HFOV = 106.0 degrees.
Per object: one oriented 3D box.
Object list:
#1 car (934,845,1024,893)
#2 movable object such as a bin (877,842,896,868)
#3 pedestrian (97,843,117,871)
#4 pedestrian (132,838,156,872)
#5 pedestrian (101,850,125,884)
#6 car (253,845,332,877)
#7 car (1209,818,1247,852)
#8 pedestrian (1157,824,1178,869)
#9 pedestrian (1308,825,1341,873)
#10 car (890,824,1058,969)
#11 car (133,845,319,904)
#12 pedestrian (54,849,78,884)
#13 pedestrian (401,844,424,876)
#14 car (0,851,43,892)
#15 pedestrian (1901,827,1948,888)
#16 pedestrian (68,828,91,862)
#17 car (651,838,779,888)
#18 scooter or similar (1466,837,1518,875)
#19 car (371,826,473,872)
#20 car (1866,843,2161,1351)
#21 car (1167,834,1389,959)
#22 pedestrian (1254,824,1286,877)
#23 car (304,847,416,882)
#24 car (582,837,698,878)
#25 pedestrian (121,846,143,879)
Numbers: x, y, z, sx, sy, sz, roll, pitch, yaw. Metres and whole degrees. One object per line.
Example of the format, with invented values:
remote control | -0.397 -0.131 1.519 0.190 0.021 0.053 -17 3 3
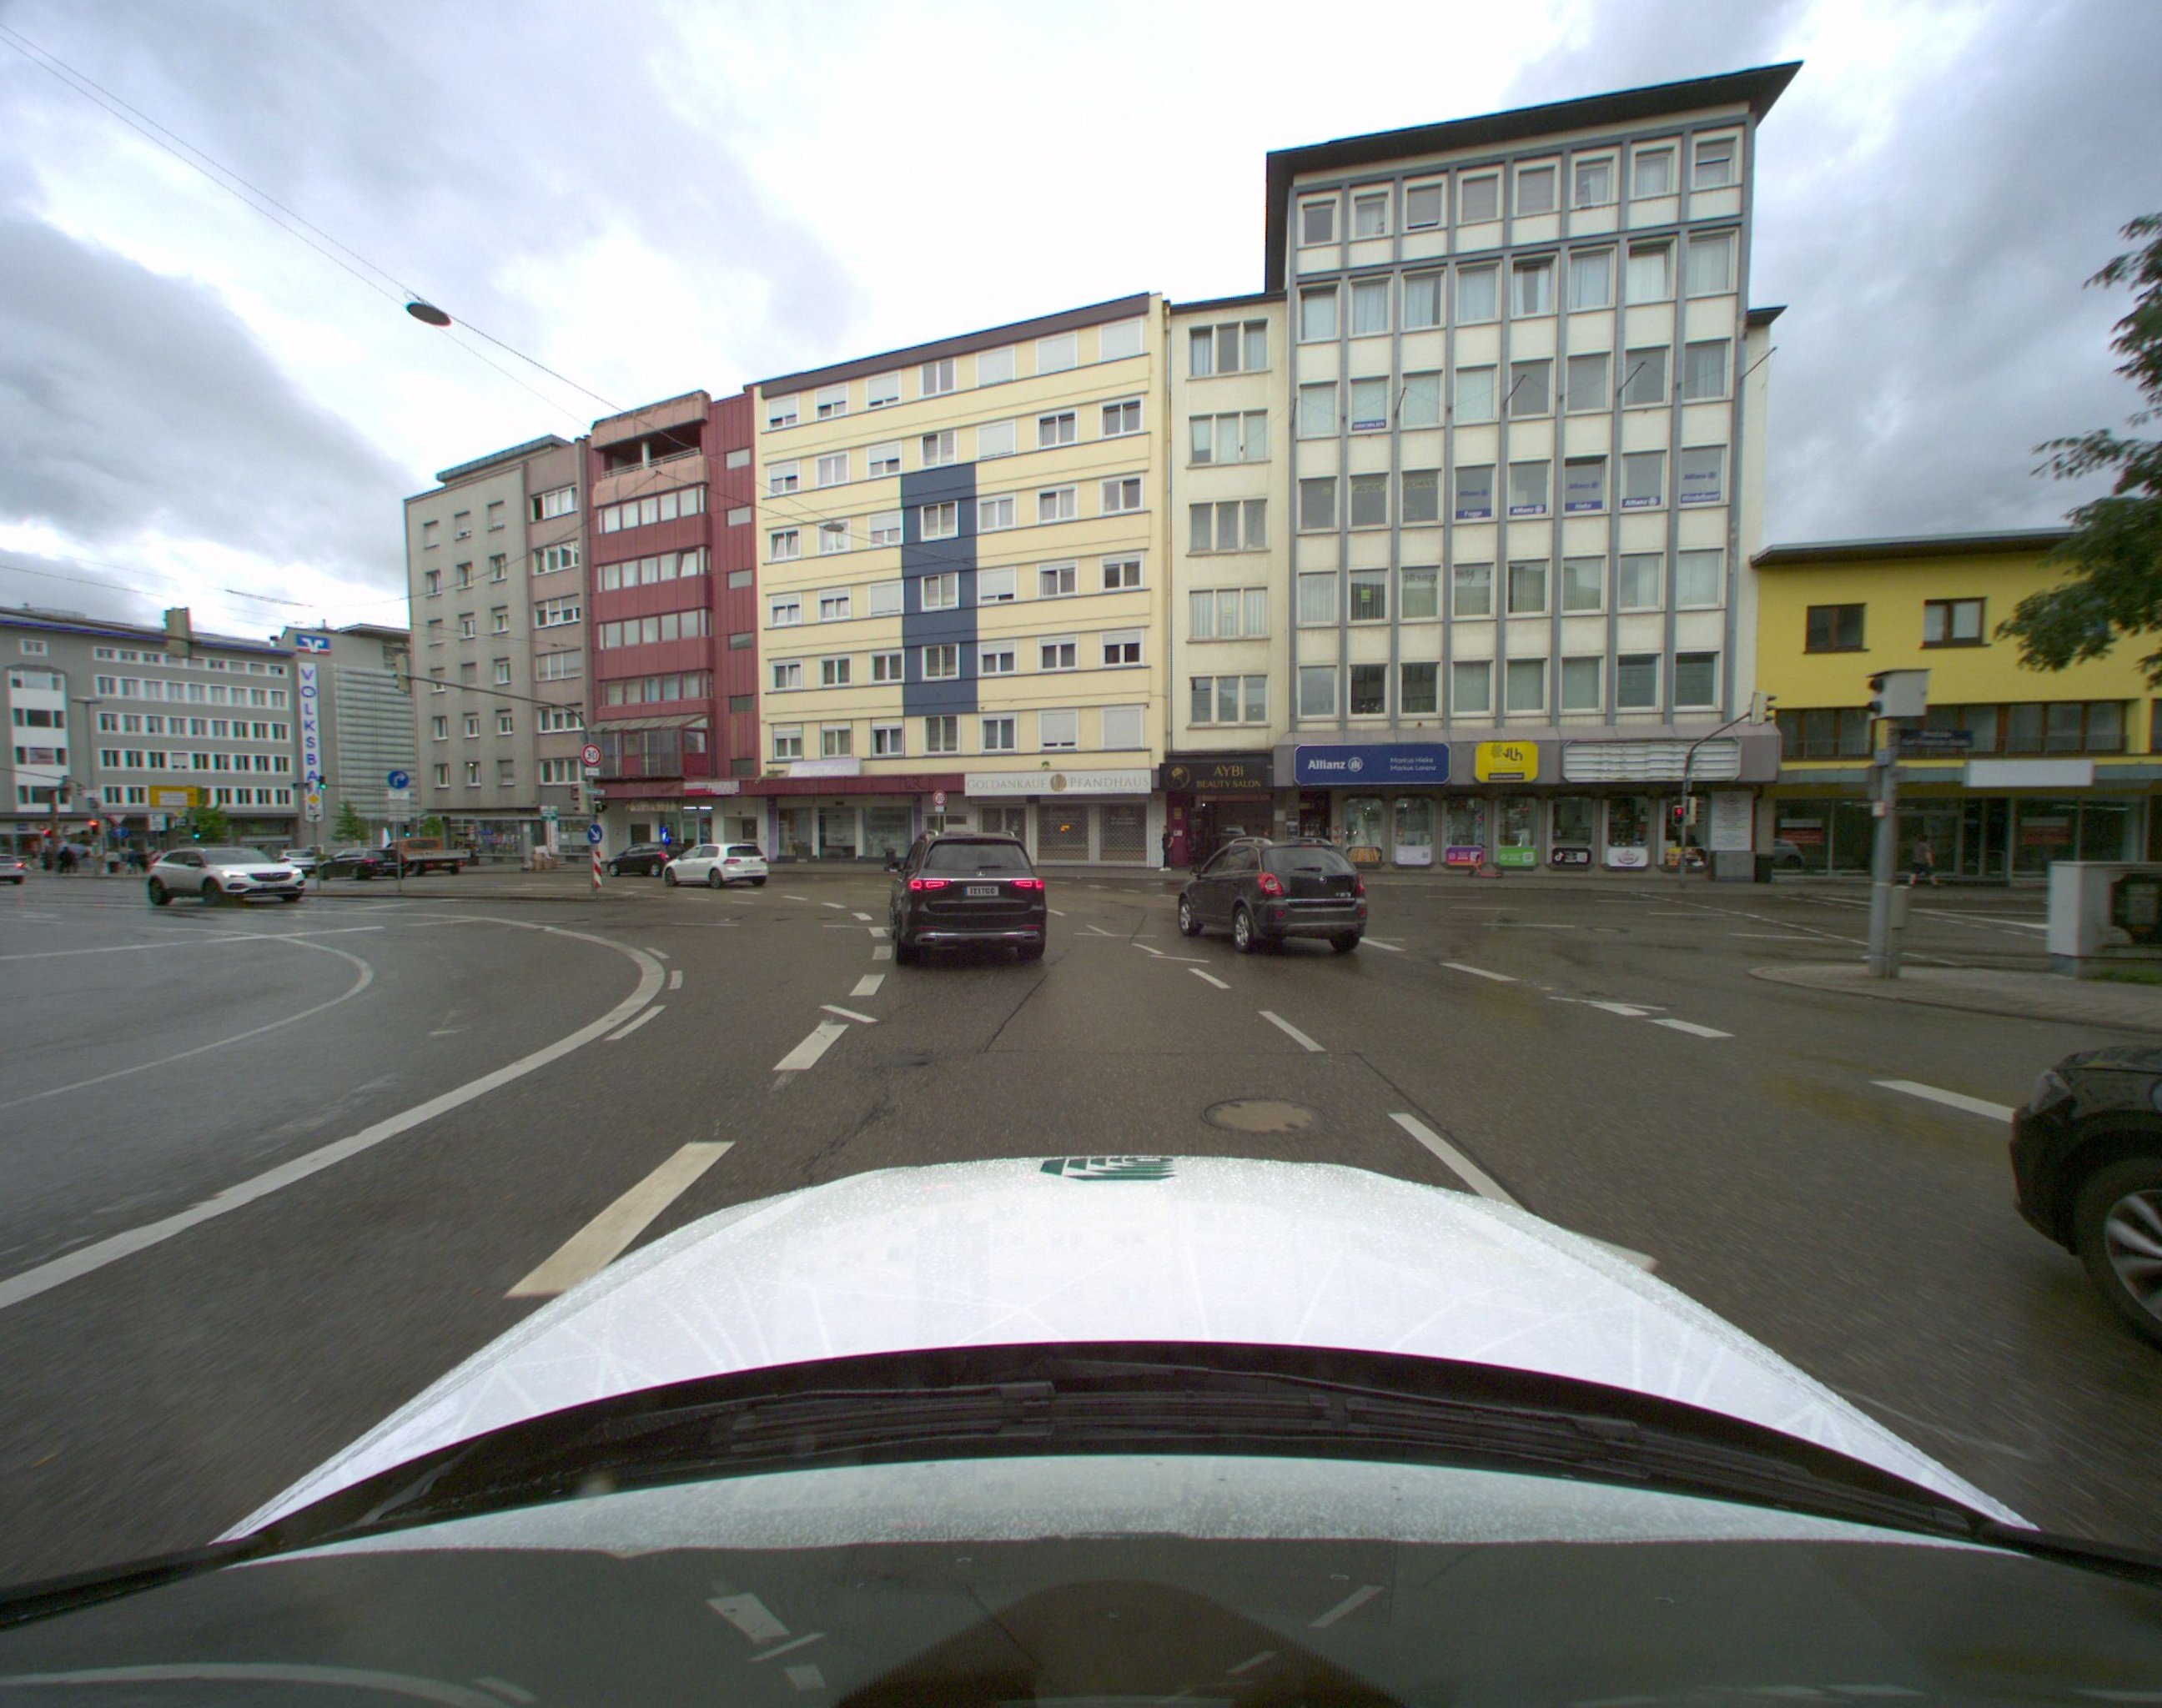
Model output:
car | -3.366 0.461 26.172 1.775 1.397 3.967 0 0 -25
movable object such as a bin | -8.005 0.033 33.487 0.539 0.950 0.614 -7 8 -30
pedestrian | -70.191 0.217 58.688 0.844 2.014 0.819 -1 -1 34
pedestrian | -56.796 0.064 49.360 0.844 2.014 0.819 -1 -1 34
pedestrian | -58.206 0.796 48.975 0.844 2.014 0.819 -1 -1 34
car | -42.036 0.363 43.403 4.603 1.515 1.943 1 -2 33
car | 7.657 -0.949 42.615 1.787 1.670 4.009 0 0 8
pedestrian | 3.344 -0.305 31.441 0.748 1.688 0.568 0 6 10
pedestrian | 8.778 -0.189 29.424 1.024 1.688 0.832 0 6 7
car | -1.854 0.494 12.570 2.042 1.799 4.640 0 1 -14
car | -24.874 0.560 23.699 4.680 1.556 2.011 0 1 20
pedestrian | -59.682 0.715 47.888 0.844 2.014 0.819 -1 -1 34
pedestrian | -43.016 0.376 52.407 0.810 2.014 0.854 0 -1 -4
car | -51.655 0.793 38.366 4.681 1.789 2.010 2 0 20
pedestrian | 26.575 0.125 25.664 0.891 1.827 0.675 5 -2 -18
pedestrian | -60.784 -0.533 49.430 0.844 2.014 0.819 -1 -1 34
car | -12.481 0.242 27.699 4.343 1.494 1.892 1 3 34
scooter or similar | 14.409 0.074 28.586 1.501 1.210 0.624 3 5 15
car | -34.218 -0.256 42.243 5.359 2.228 2.263 1 -1 30
car | 3.931 0.720 1.286 1.681 1.477 4.003 1 0 3
car | 3.021 0.560 13.630 1.899 1.695 4.488 -1 1 -11
pedestrian | 6.682 -0.136 28.913 1.024 1.798 0.832 0 6 7
car | -32.371 0.475 36.586 4.187 1.486 2.010 -1 -1 20
car | -19.019 0.156 35.145 4.443 1.658 1.838 1 -1 21
pedestrian | -58.679 0.513 50.355 0.844 2.014 0.819 -1 -1 34
